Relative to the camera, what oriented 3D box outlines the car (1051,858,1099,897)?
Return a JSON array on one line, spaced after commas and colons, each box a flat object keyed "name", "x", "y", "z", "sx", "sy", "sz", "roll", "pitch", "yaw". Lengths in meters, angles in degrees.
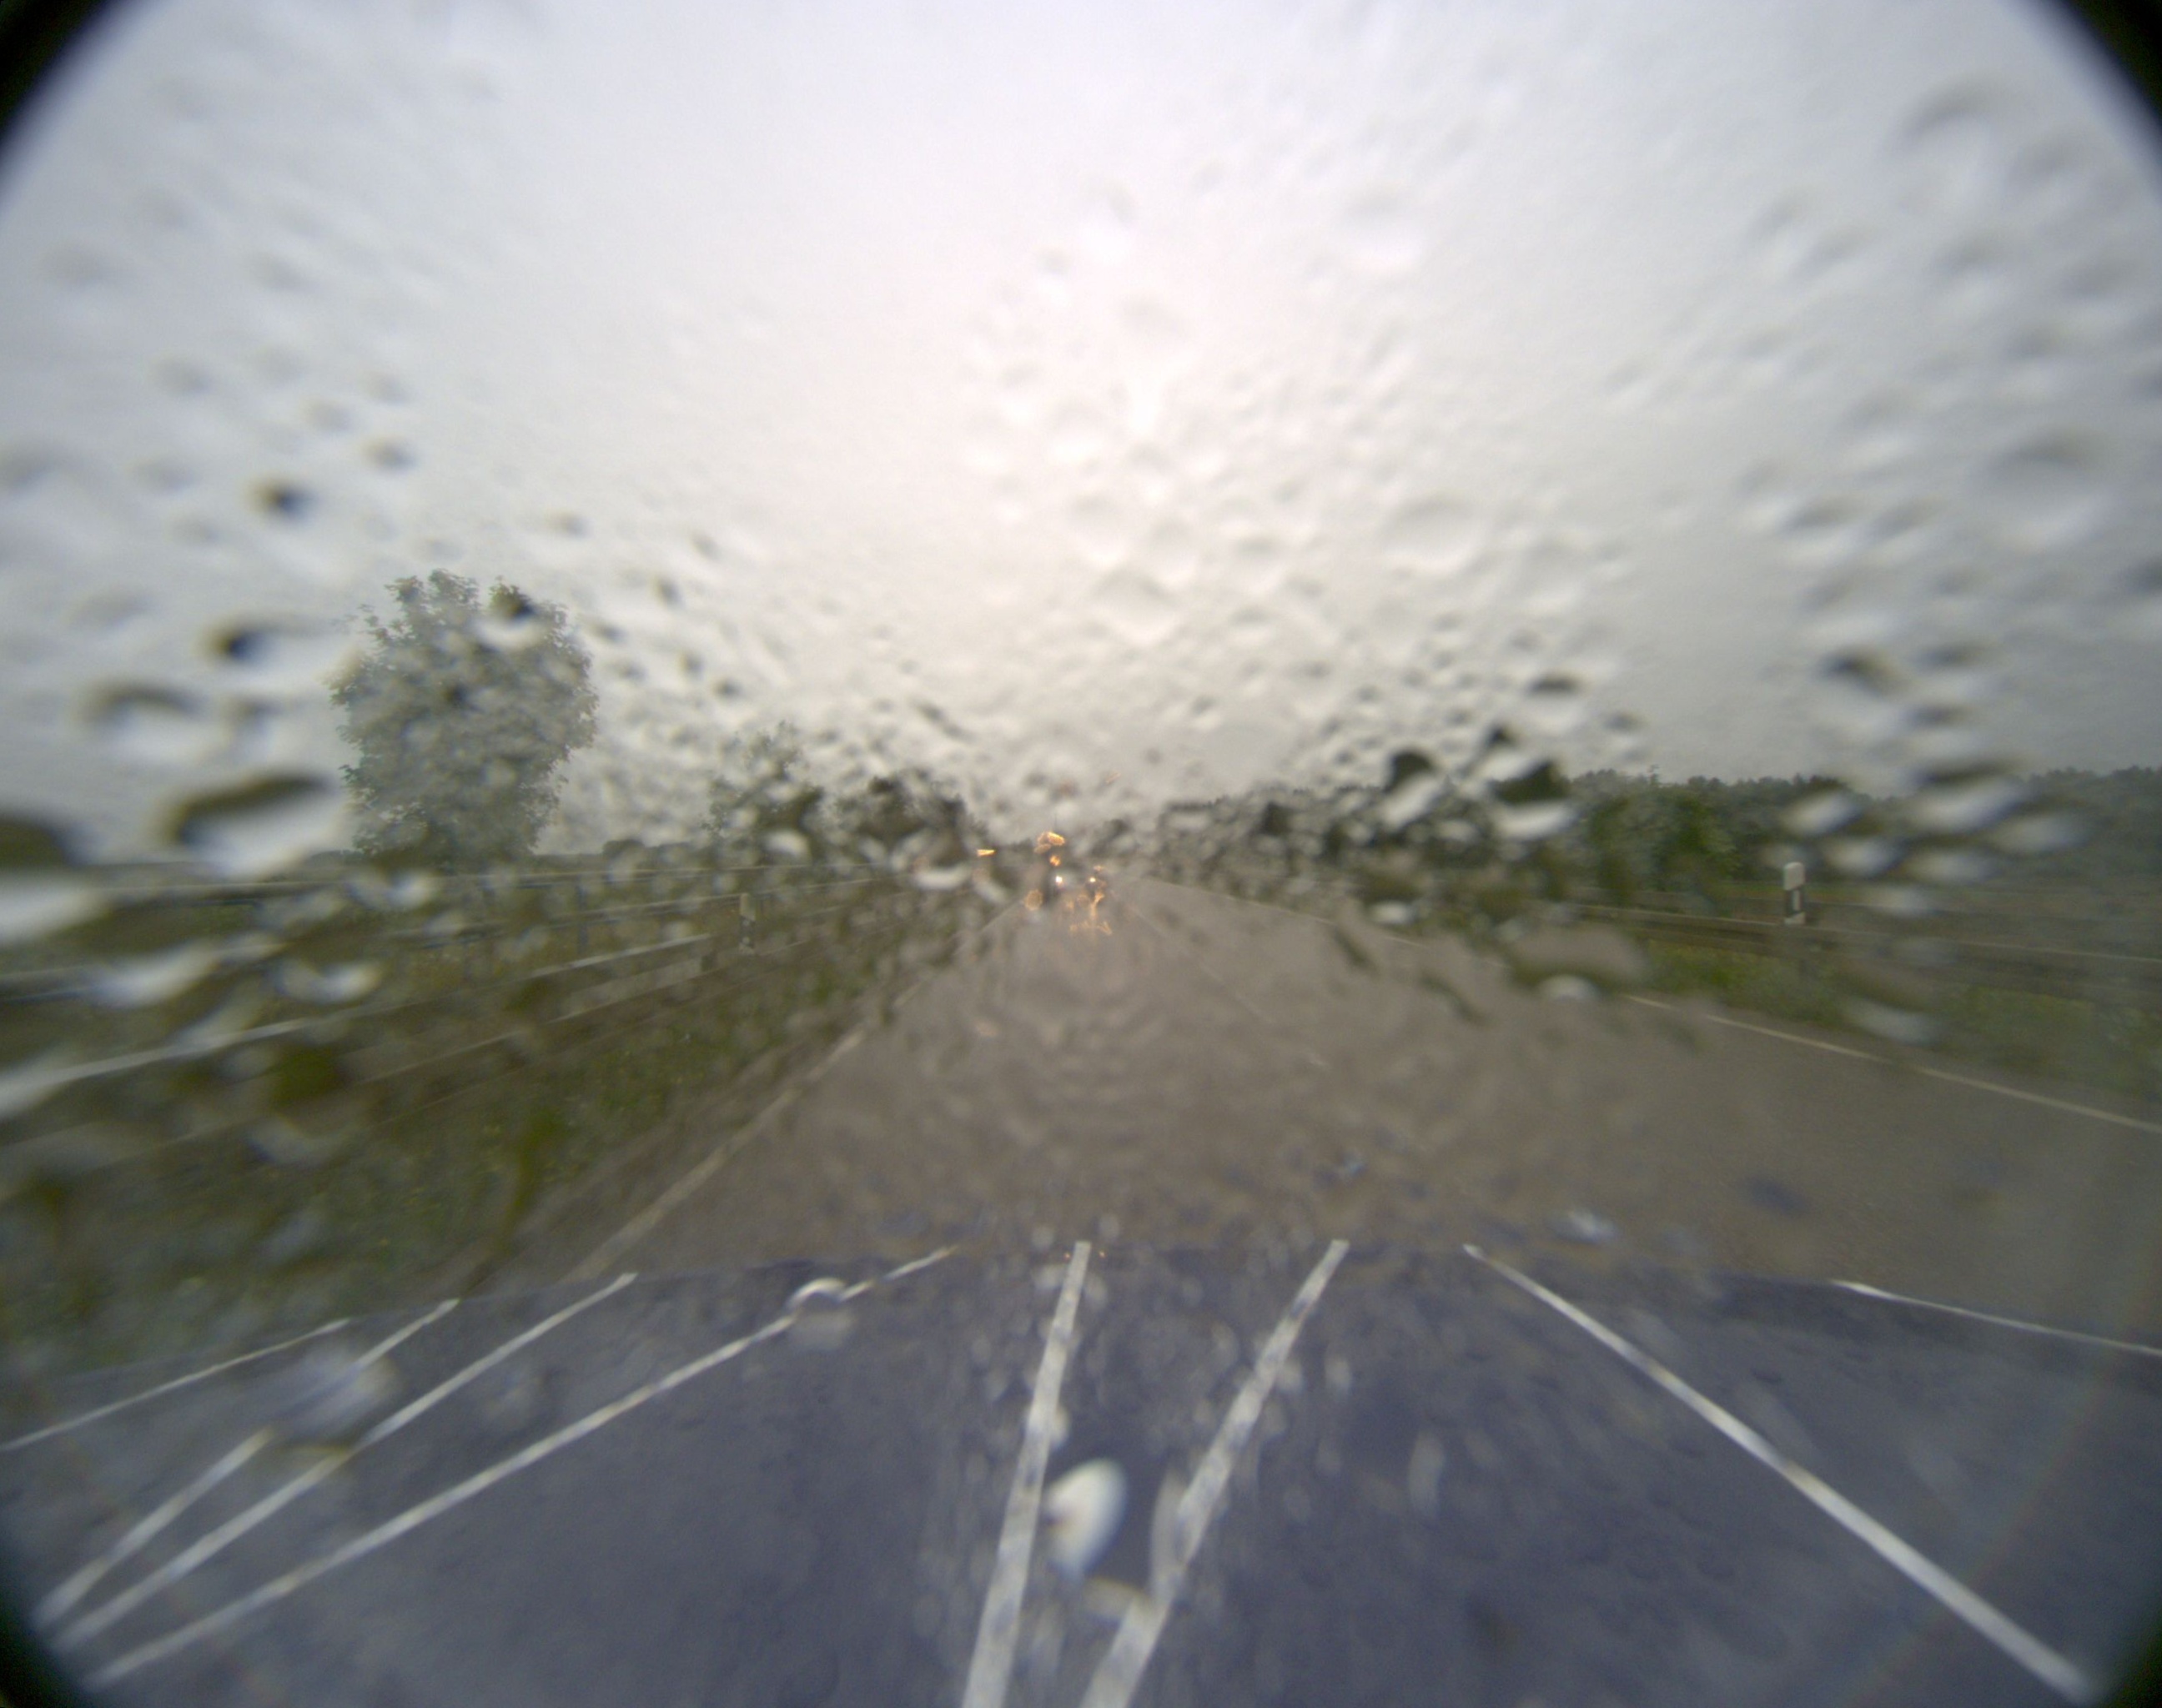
[{"name": "car", "x": -0.206, "y": 0.925, "z": 31.666, "sx": 1.819, "sy": 1.382, "sz": 4.068, "roll": -3, "pitch": 1, "yaw": 1}]
